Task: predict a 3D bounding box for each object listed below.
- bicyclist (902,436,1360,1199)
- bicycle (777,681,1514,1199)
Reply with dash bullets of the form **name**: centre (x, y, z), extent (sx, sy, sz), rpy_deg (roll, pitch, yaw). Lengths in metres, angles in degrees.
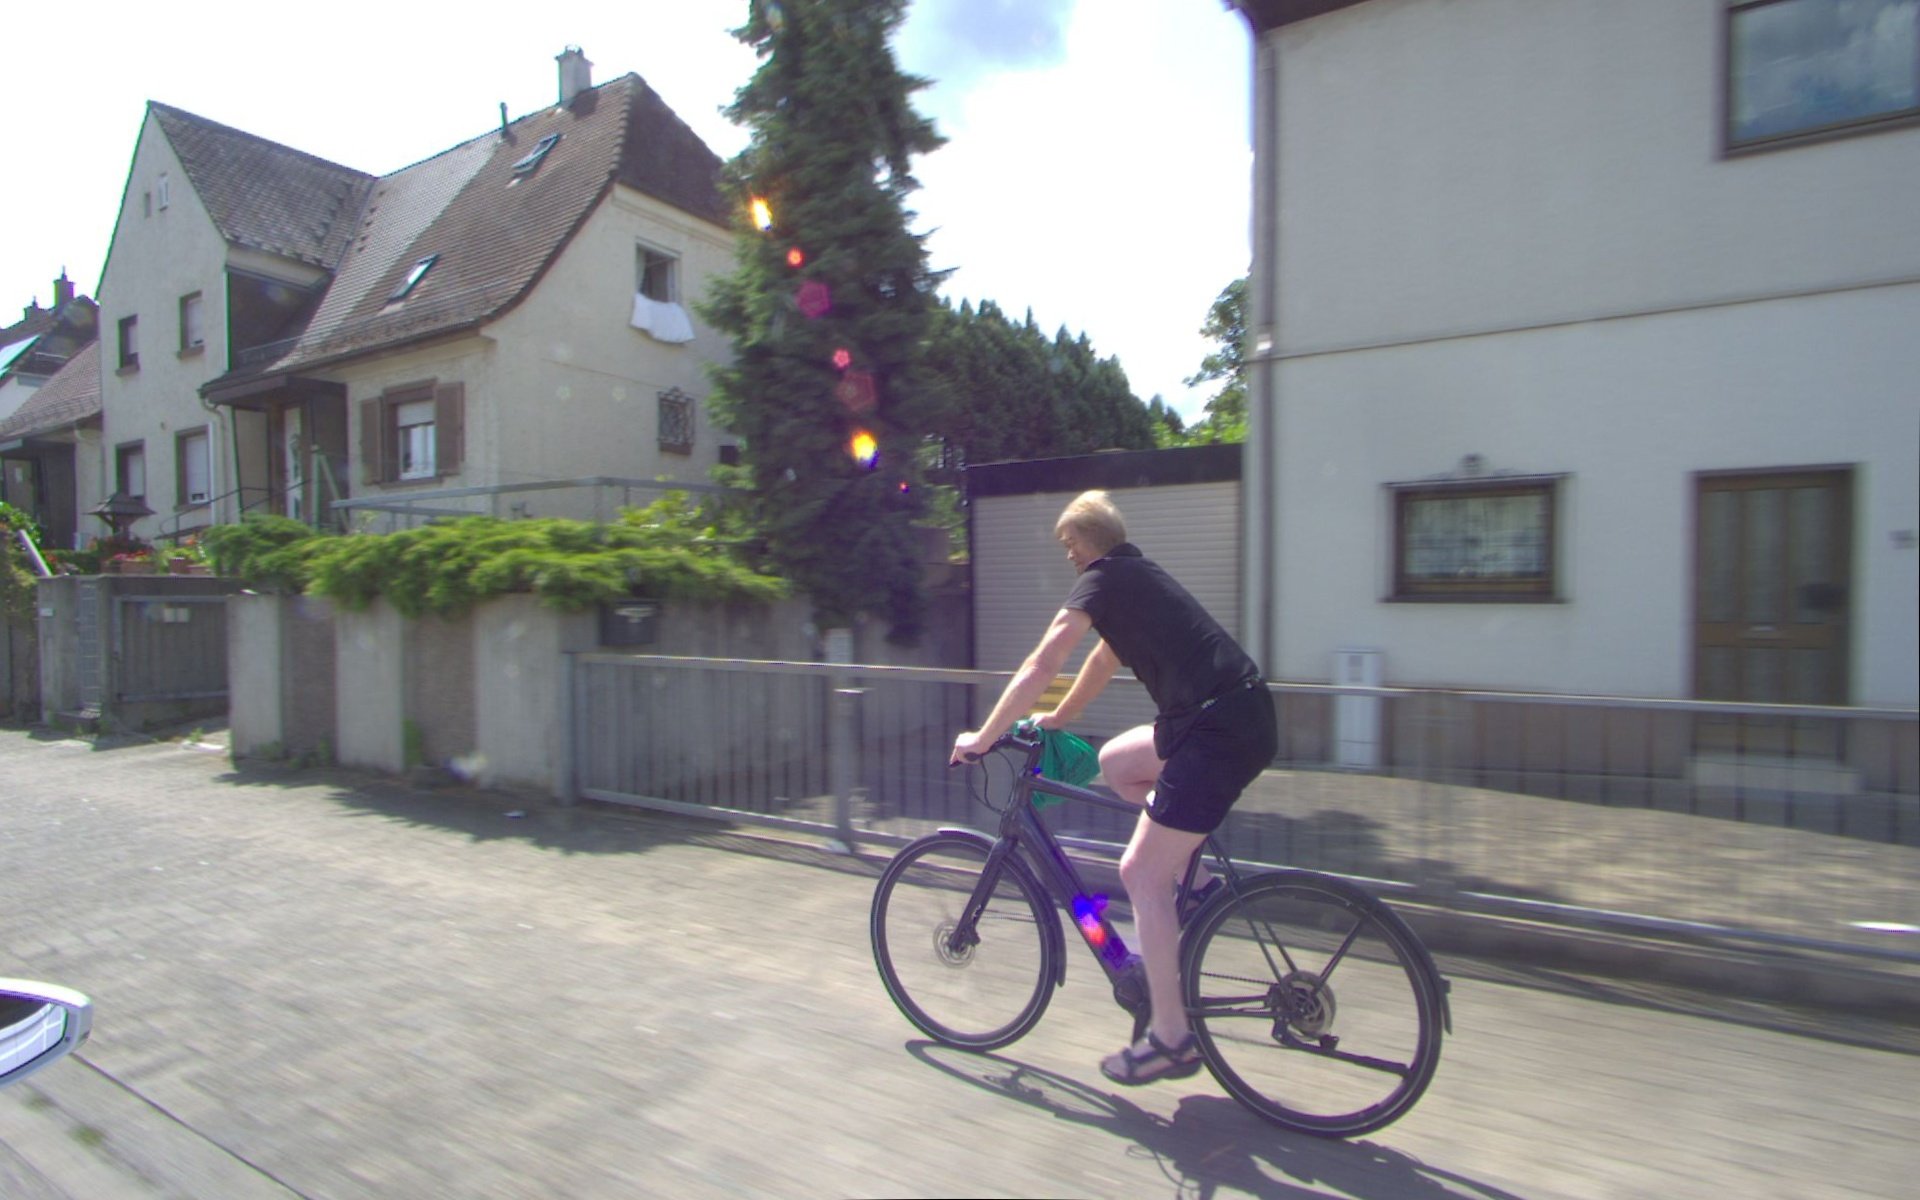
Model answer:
- **bicyclist**: centre (0.508, 0.529, 2.891), extent (1.068, 1.818, 0.826), rpy_deg (1, 3, 31)
- **bicycle**: centre (0.485, 0.868, 2.920), extent (1.942, 1.090, 0.826), rpy_deg (1, 2, 31)
